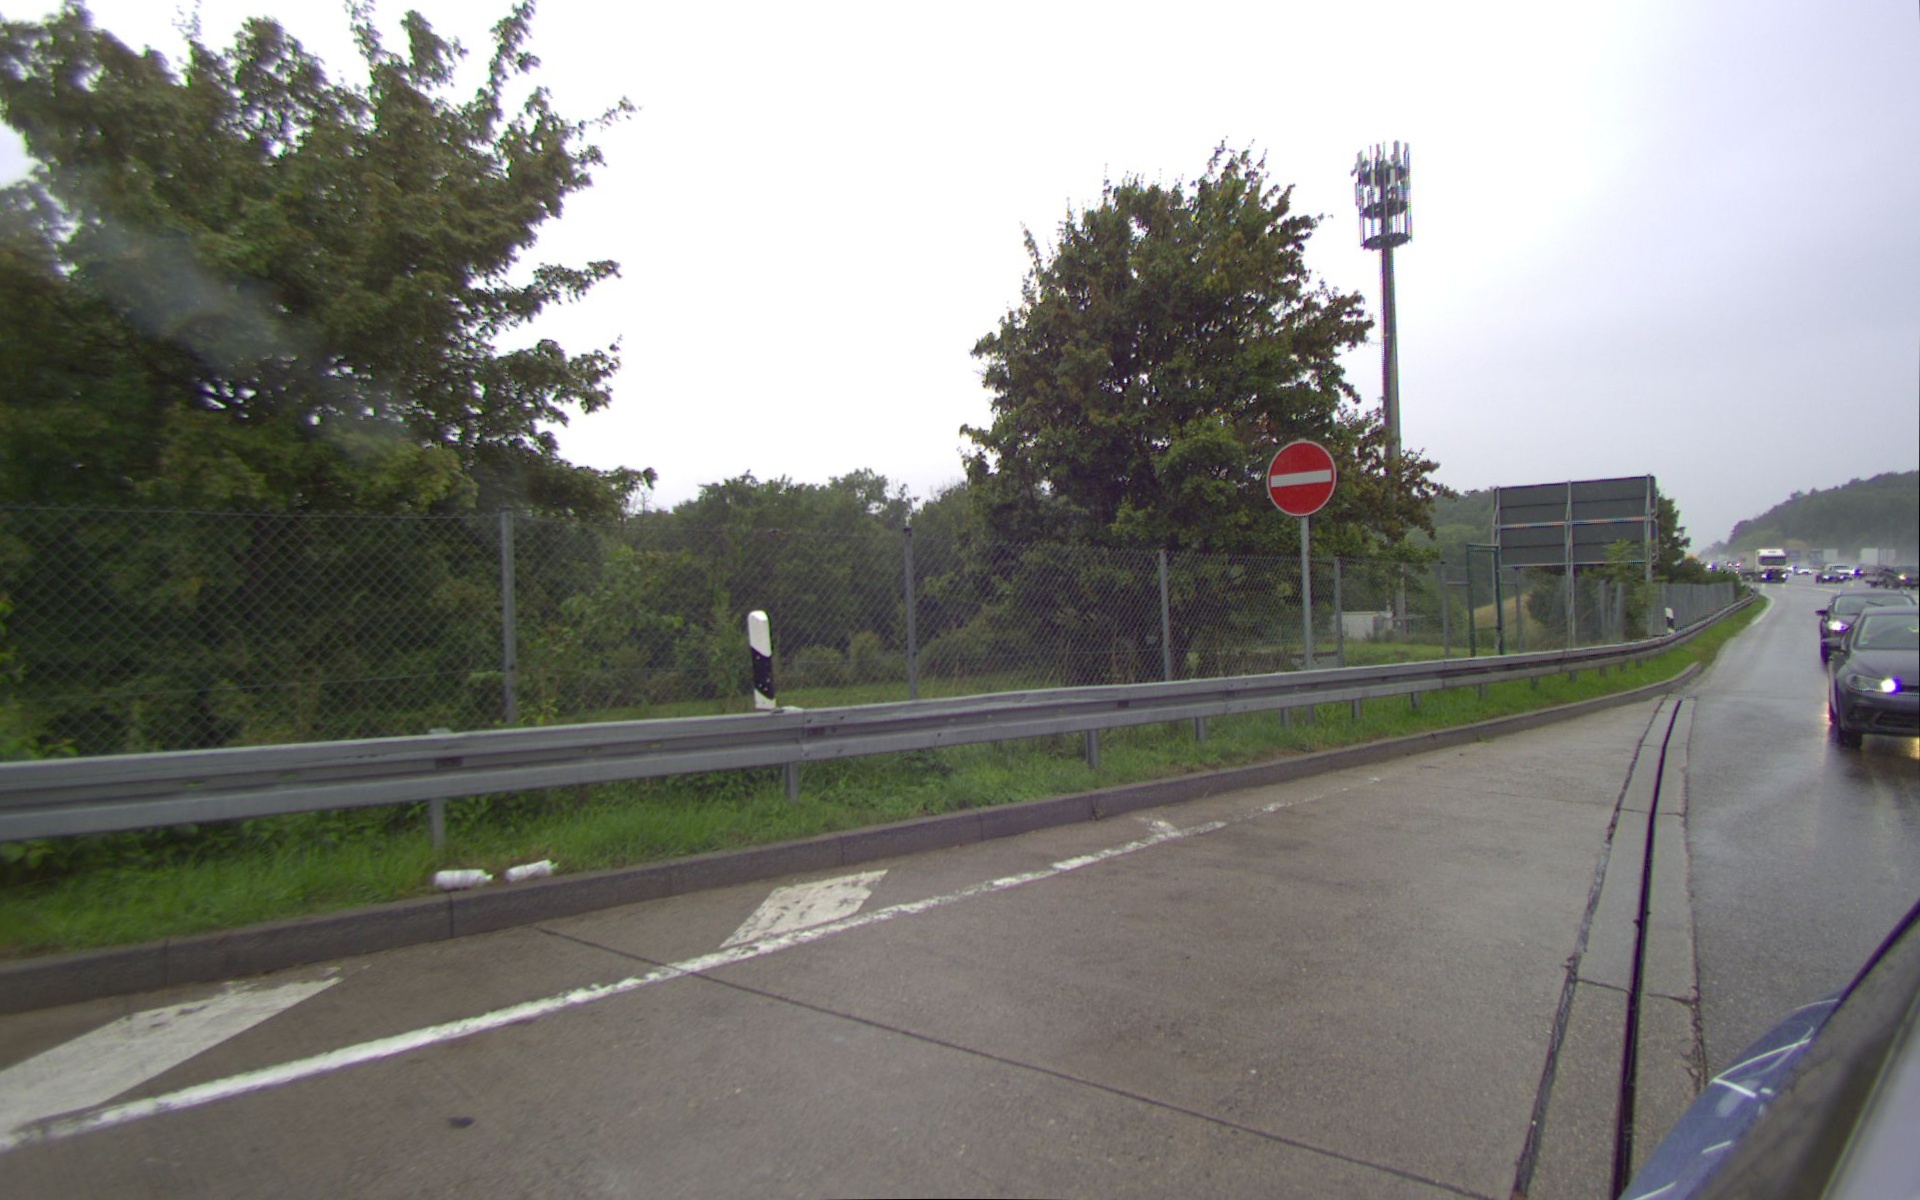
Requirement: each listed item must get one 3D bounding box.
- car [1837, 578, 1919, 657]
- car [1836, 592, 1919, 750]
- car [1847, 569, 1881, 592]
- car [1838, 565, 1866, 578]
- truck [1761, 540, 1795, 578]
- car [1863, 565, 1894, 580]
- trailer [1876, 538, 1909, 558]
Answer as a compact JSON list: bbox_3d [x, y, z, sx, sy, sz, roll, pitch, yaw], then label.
[{"bbox_3d":[21.376,0.357,23.183,1.803,1.561,3.942,-5,-2,41],"label":"car"},{"bbox_3d":[10.537,0.644,10.771,1.663,1.420,4.202,-1,0,39],"label":"car"},{"bbox_3d":[95.346,-2.086,106.749,1.905,2.038,3.954,-7,-1,34],"label":"car"},{"bbox_3d":[107.393,-3.452,121.860,1.782,1.527,3.958,1,1,30],"label":"car"},{"bbox_3d":[95.144,-4.715,117.790,2.583,4.198,5.161,-4,-2,37],"label":"truck"},{"bbox_3d":[114.281,-3.449,125.978,1.983,1.835,3.958,1,1,30],"label":"car"},{"bbox_3d":[177.052,-9.736,192.232,2.639,3.541,13.324,-1,1,34],"label":"trailer"}]
